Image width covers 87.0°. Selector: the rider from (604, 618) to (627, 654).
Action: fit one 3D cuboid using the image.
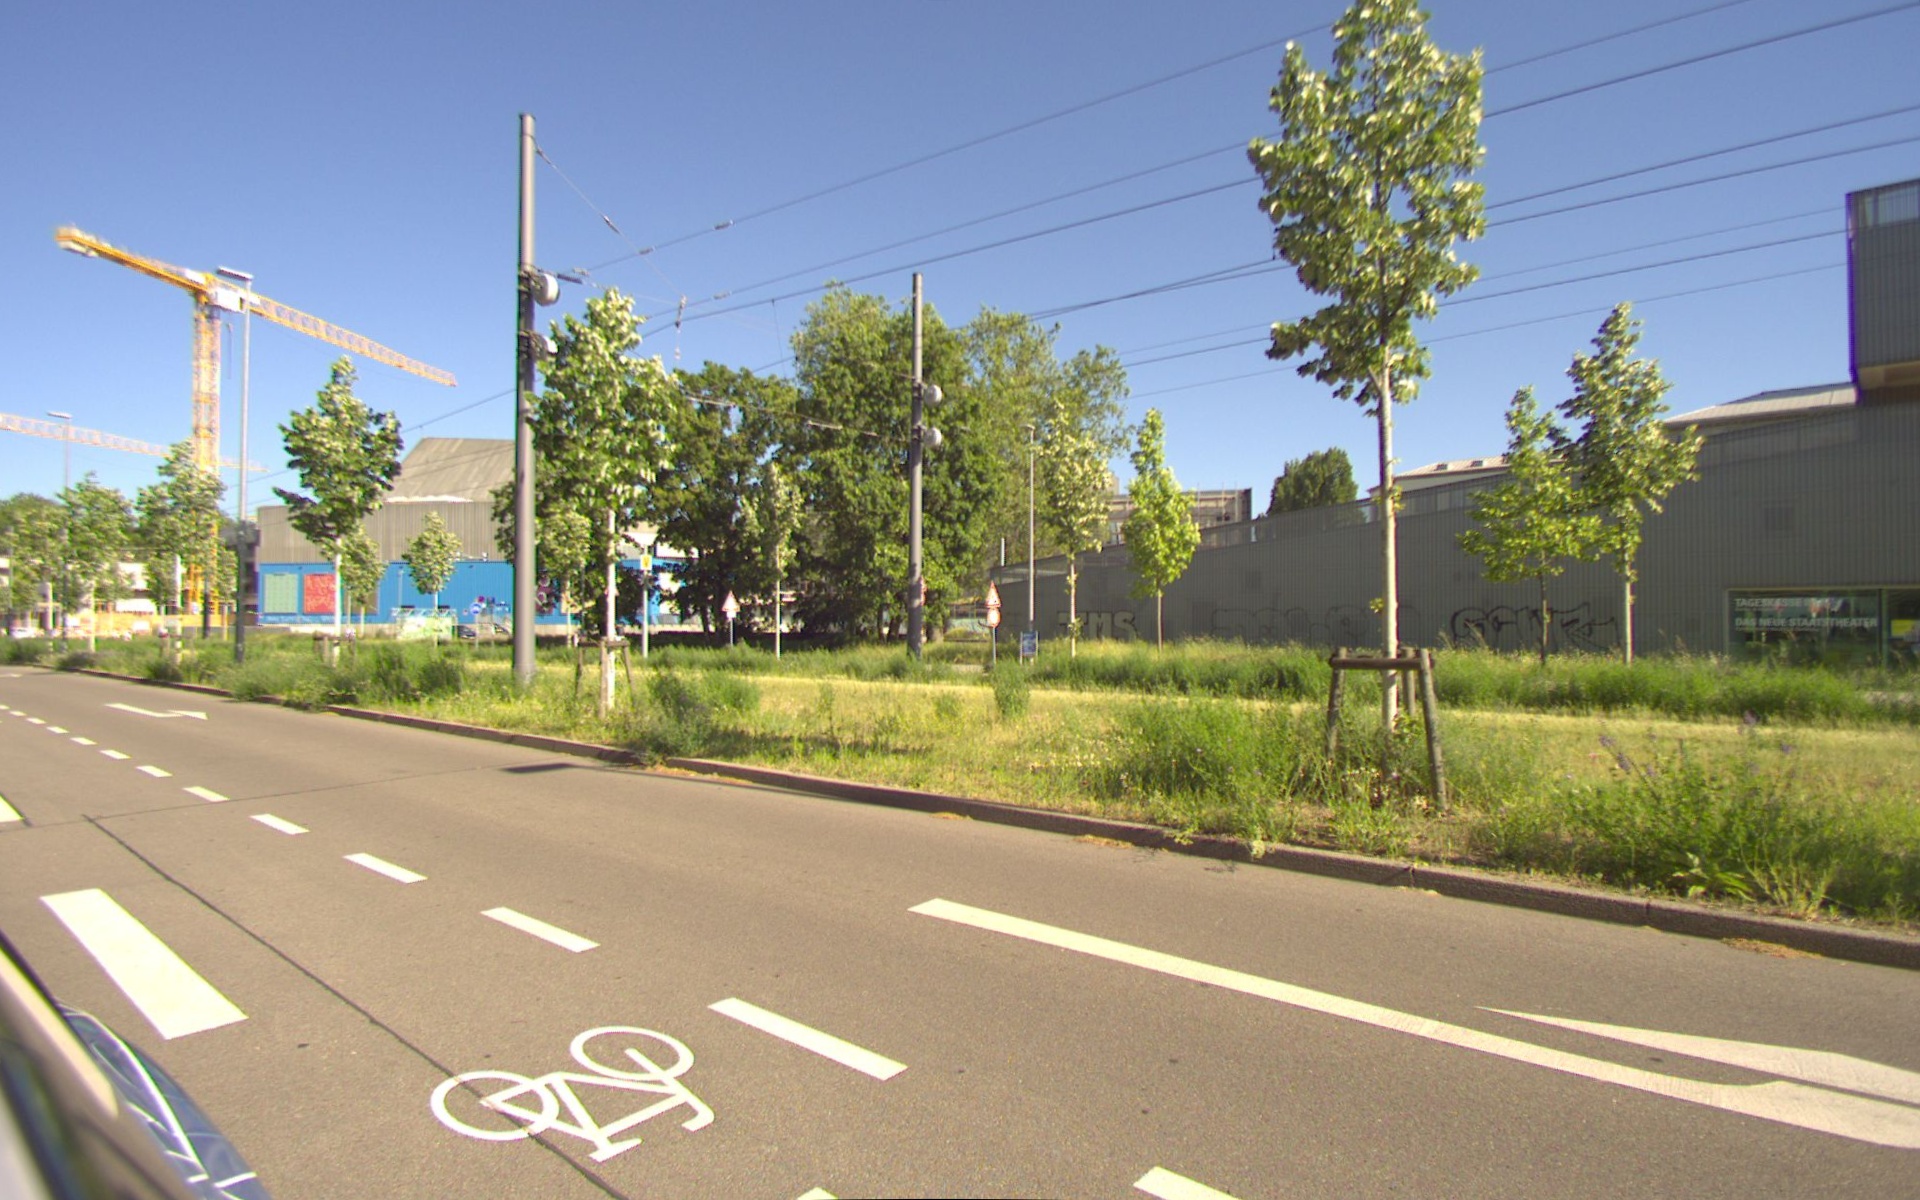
[{"bbox_3d":[-14.872,1.537,43.681,0.631,1.534,0.715,-2,-2,38],"label":"rider"}]
